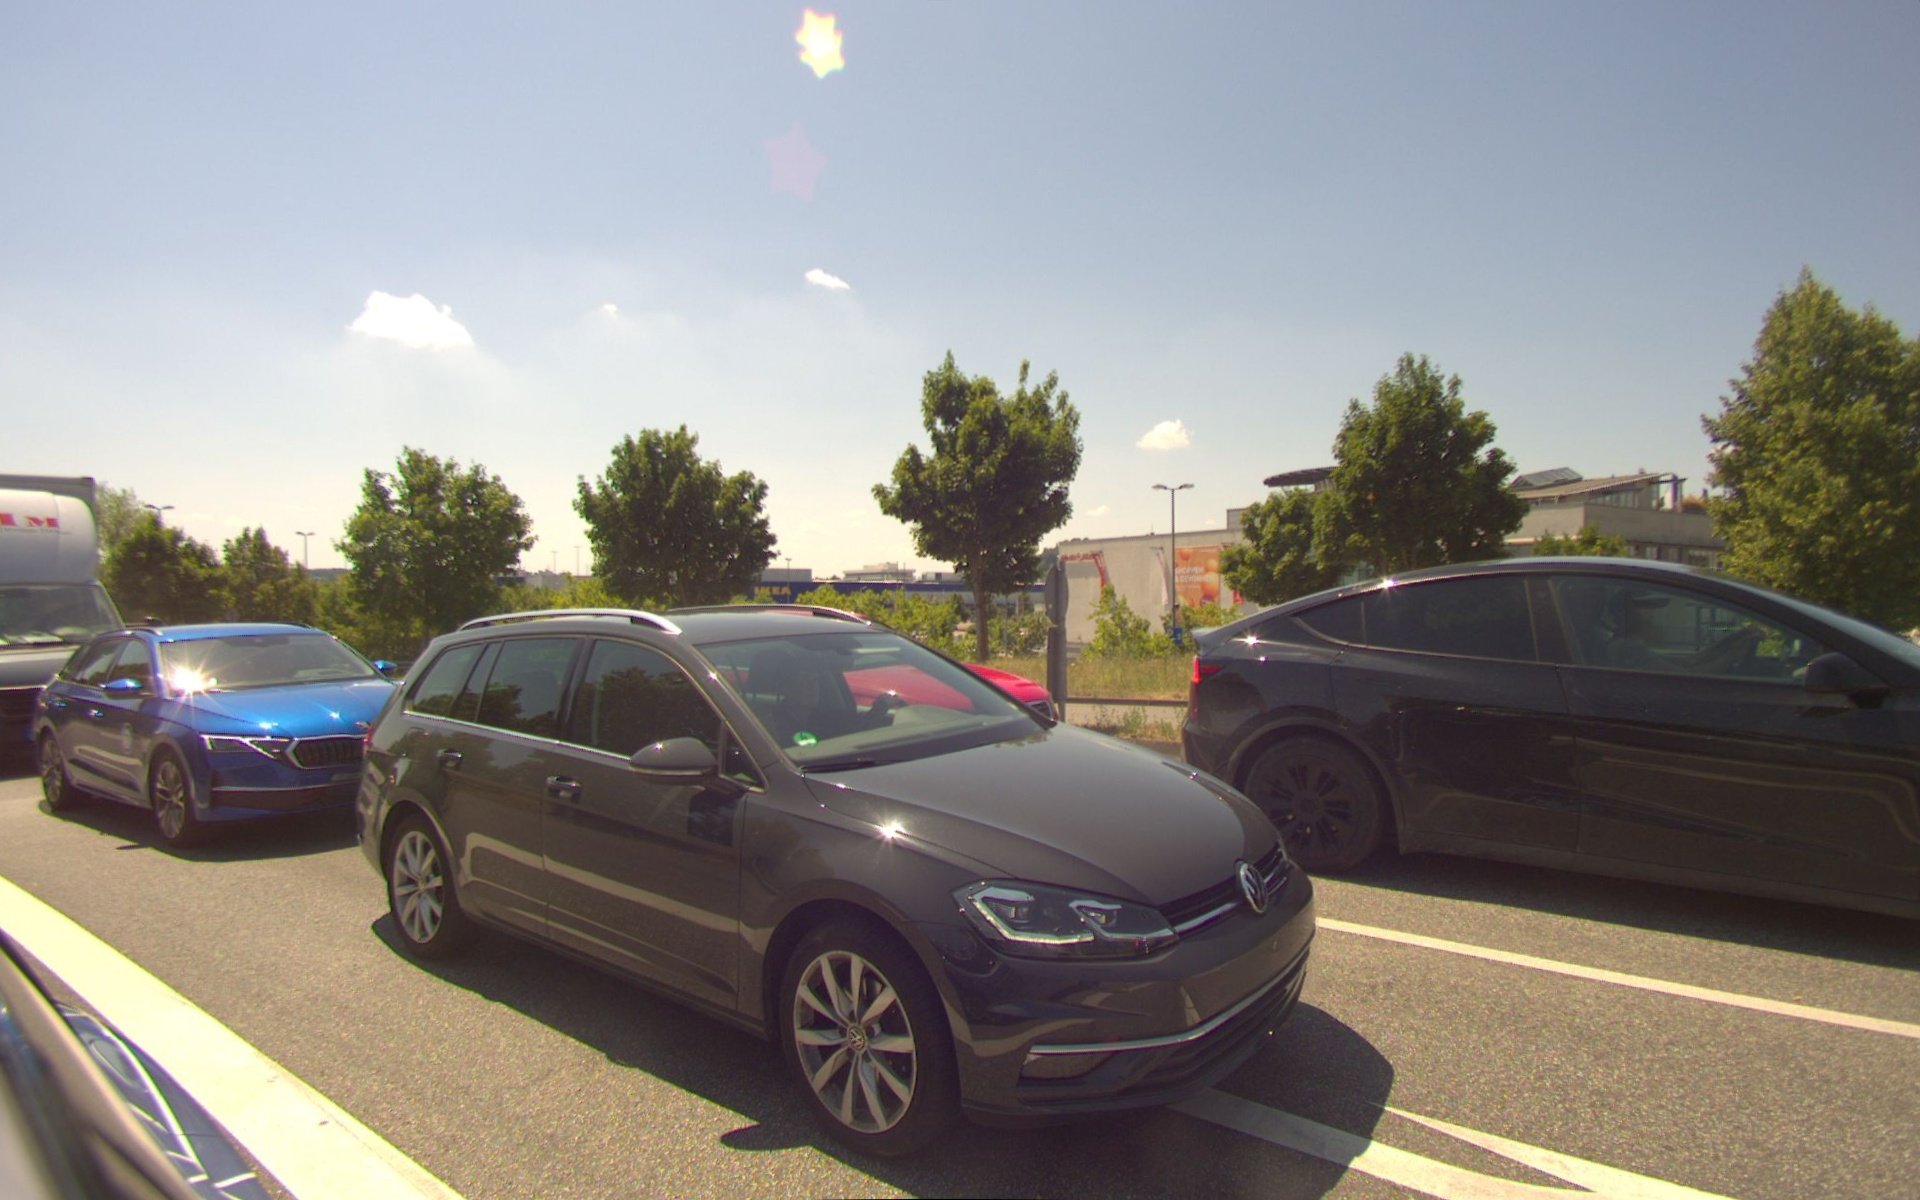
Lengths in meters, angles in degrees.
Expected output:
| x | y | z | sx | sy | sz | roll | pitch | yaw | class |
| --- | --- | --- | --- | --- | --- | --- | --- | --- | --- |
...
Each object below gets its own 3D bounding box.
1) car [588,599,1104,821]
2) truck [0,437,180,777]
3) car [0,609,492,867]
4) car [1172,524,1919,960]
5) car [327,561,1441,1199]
| x | y | z | sx | sy | sz | roll | pitch | yaw | class |
| --- | --- | --- | --- | --- | --- | --- | --- | --- | --- |
| -1.144 | 0.735 | 8.549 | 4.444 | 1.399 | 1.645 | -1 | 1 | 38 | car |
| -12.350 | 0.211 | 12.261 | 7.182 | 3.373 | 2.388 | -3 | -1 | 34 | truck |
| -5.731 | 0.892 | 7.900 | 4.477 | 1.473 | 1.694 | -2 | -1 | 34 | car |
| 3.516 | 0.533 | 4.967 | 4.499 | 1.613 | 1.857 | -1 | 0 | 38 | car |
| -0.690 | 0.707 | 4.038 | 4.424 | 1.493 | 1.761 | -1 | -1 | 39 | car |
